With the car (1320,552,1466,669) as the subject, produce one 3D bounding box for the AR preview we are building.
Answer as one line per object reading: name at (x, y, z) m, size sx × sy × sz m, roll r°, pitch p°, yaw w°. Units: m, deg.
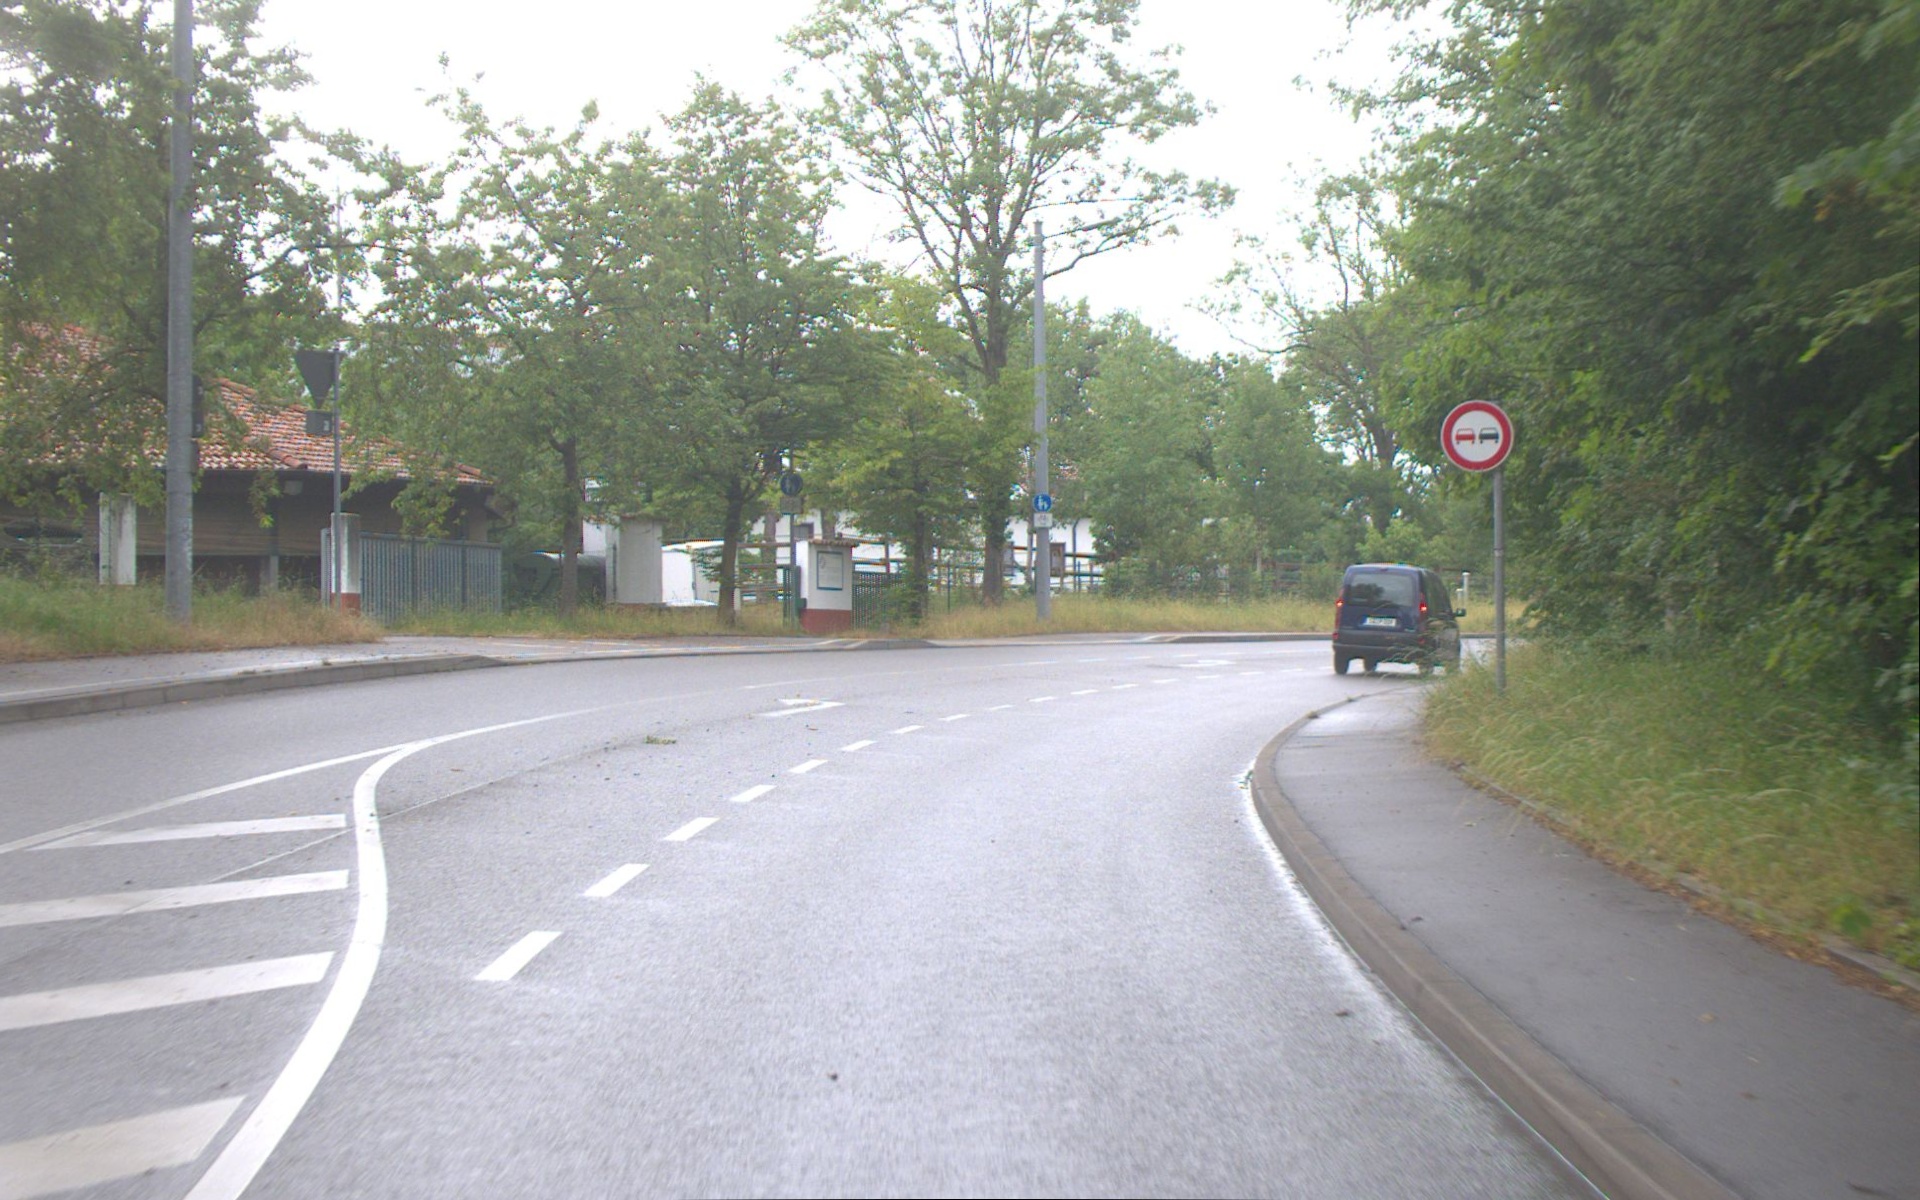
car at (7.259, 0.192, 57.374) m, size 1.828 × 1.788 × 3.997 m, roll -4°, pitch -2°, yaw 14°
